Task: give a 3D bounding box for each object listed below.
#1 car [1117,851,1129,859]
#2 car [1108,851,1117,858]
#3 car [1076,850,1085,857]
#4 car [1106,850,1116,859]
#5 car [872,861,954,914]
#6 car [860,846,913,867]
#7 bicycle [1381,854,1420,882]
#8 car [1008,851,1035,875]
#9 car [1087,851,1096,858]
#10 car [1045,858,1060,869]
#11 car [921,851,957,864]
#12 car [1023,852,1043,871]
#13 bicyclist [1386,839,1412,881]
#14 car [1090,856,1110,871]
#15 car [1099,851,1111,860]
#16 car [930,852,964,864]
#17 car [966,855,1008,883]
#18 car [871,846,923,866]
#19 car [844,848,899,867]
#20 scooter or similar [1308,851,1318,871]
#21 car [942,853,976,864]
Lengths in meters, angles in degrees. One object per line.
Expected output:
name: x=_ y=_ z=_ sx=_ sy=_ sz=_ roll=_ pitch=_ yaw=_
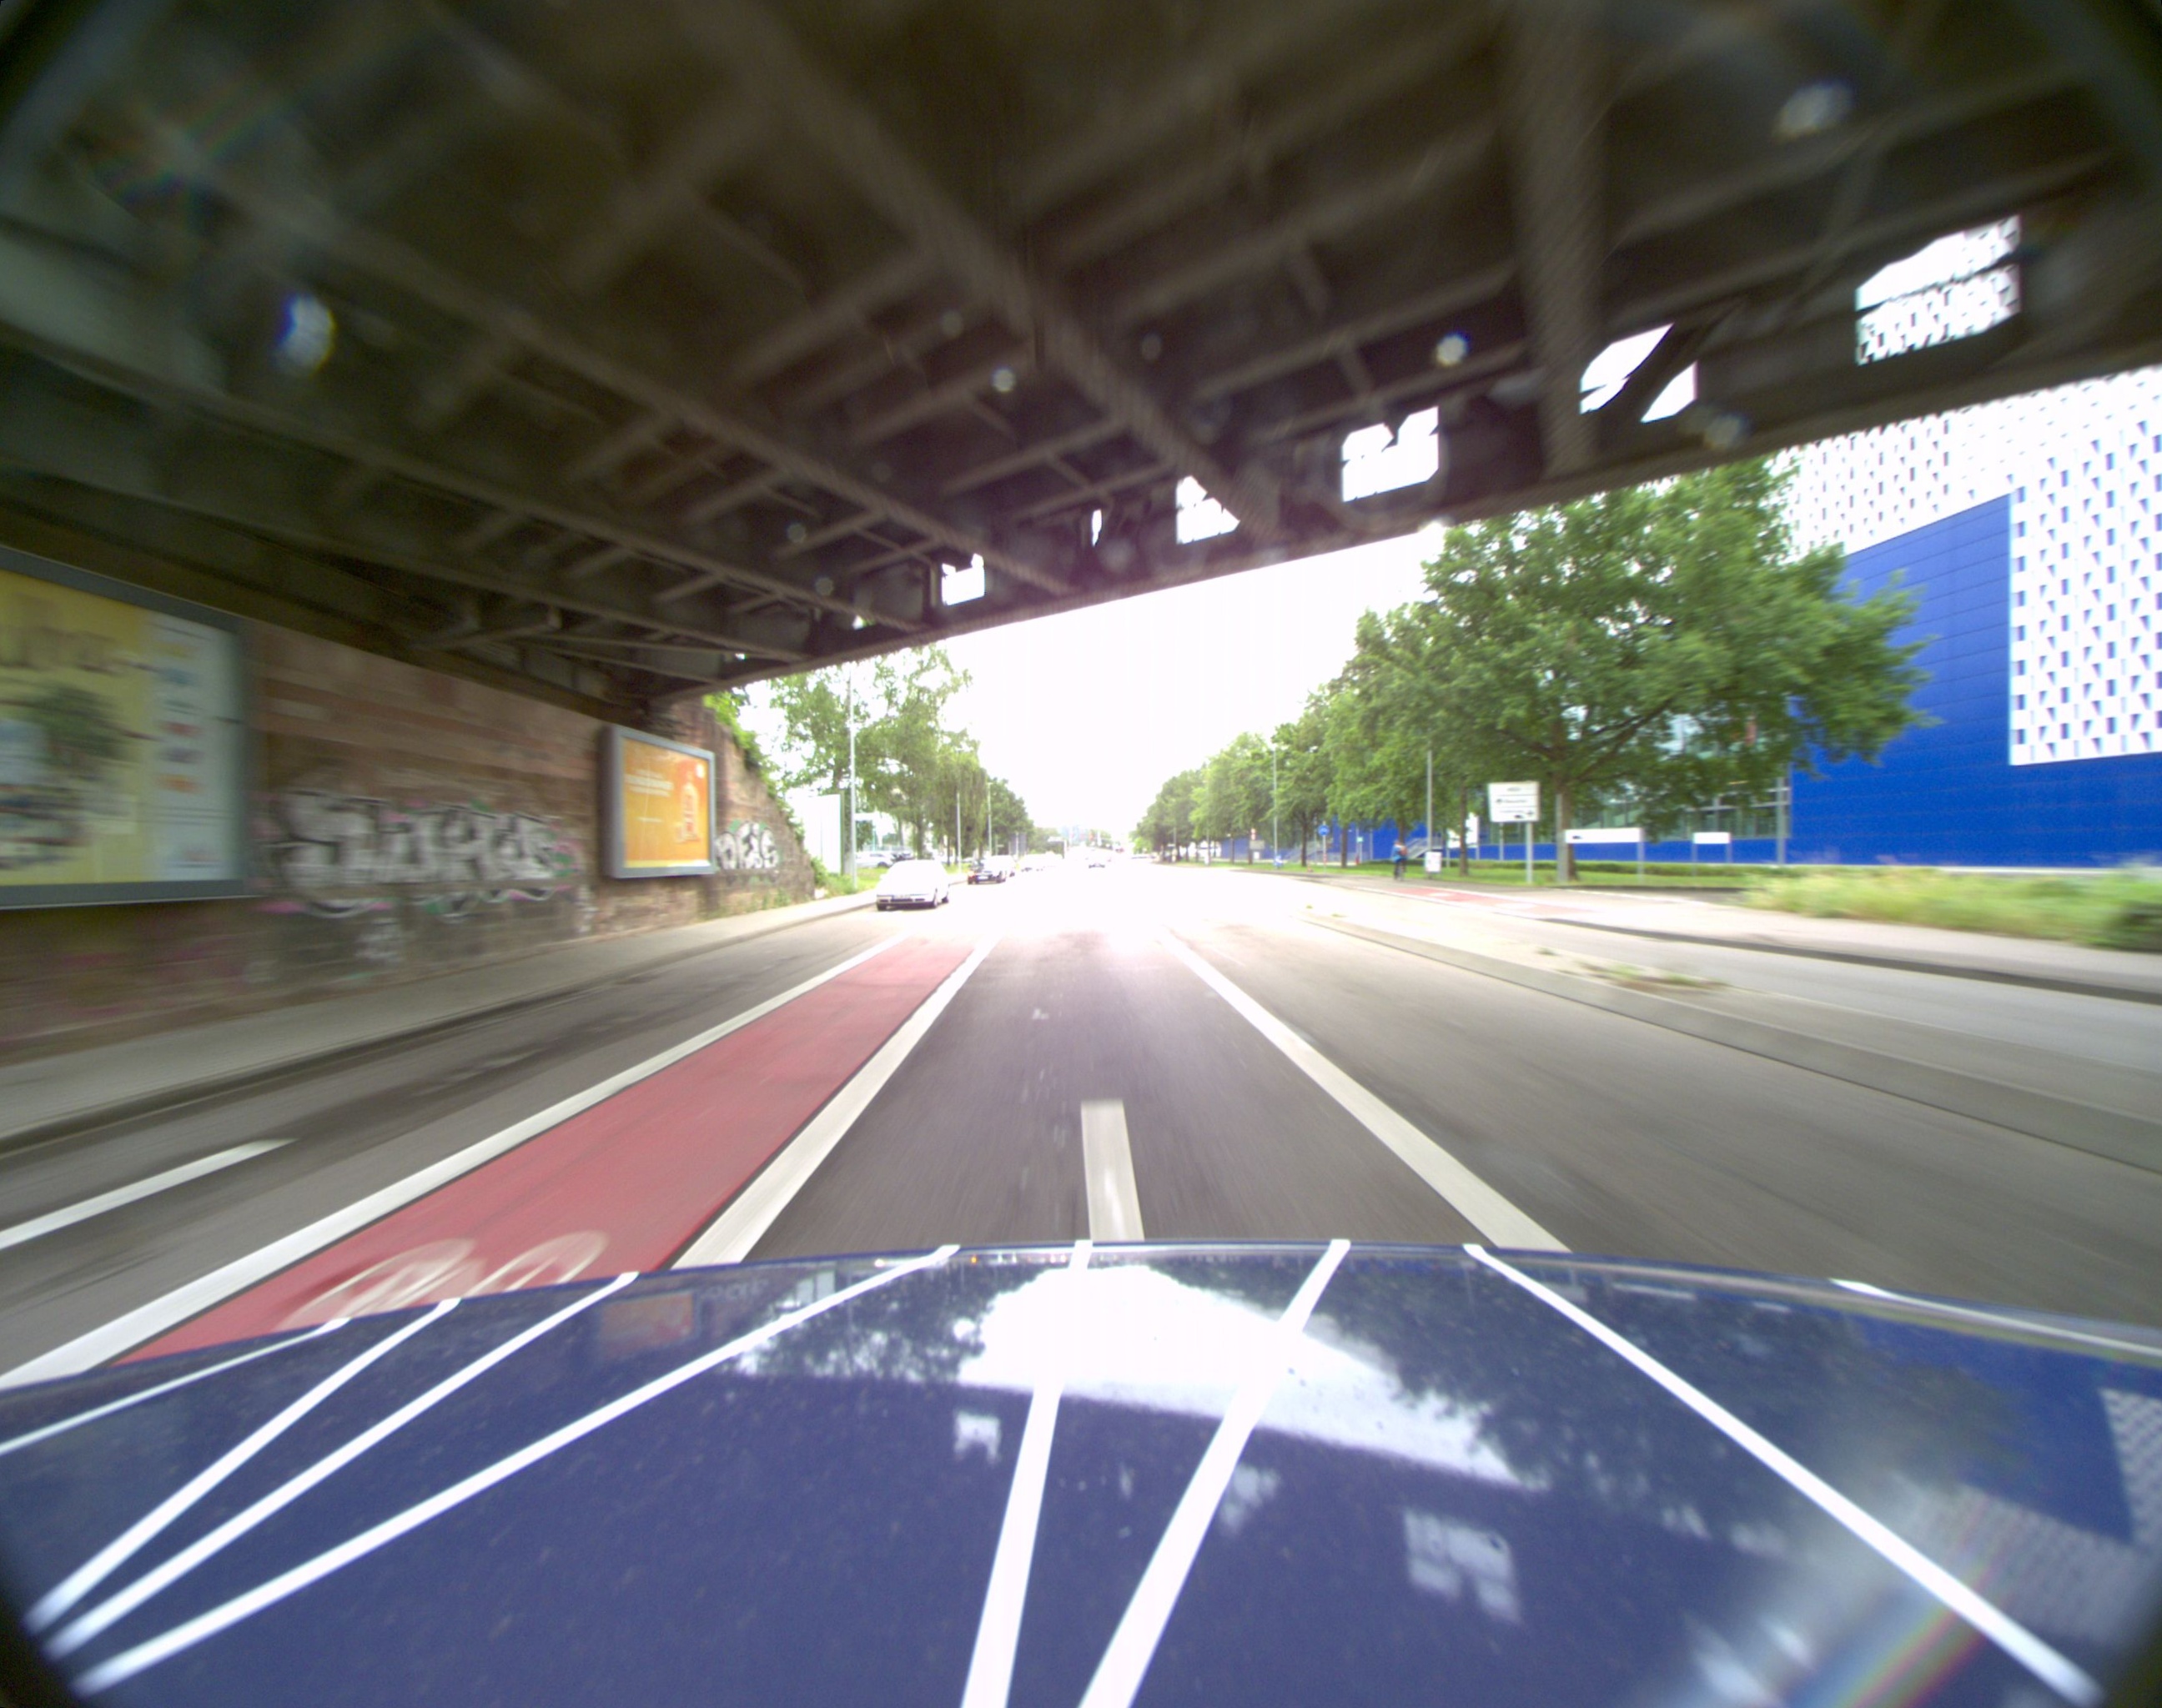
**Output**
car: x=7.810 y=0.151 z=141.081 sx=1.681 sy=1.420 sz=3.649 roll=1 pitch=0 yaw=-4
car: x=6.274 y=0.164 z=151.139 sx=1.628 sy=1.414 sz=3.611 roll=0 pitch=0 yaw=-2
car: x=-0.223 y=-0.134 z=187.921 sx=1.651 sy=1.788 sz=3.978 roll=1 pitch=0 yaw=-8
car: x=6.362 y=0.045 z=162.398 sx=1.772 sy=1.913 sz=4.907 roll=0 pitch=0 yaw=-2
car: x=-5.139 y=0.975 z=23.725 sx=1.726 sy=1.416 sz=3.940 roll=-2 pitch=0 yaw=-1
car: x=-17.657 y=0.235 z=69.204 sx=4.309 sy=1.592 sz=1.968 roll=-4 pitch=0 yaw=-3
bicycle: x=14.495 y=0.608 z=34.581 sx=0.715 sy=1.180 sz=2.370 roll=-2 pitch=1 yaw=-1
car: x=-4.375 y=0.631 z=55.636 sx=1.788 sy=1.637 sz=3.997 roll=-1 pitch=0 yaw=-7
car: x=2.500 y=0.151 z=188.372 sx=1.651 sy=1.788 sz=3.978 roll=2 pitch=0 yaw=-7
car: x=-3.803 y=1.280 z=101.406 sx=1.837 sy=1.416 sz=3.999 roll=-2 pitch=0 yaw=-1
car: x=-18.422 y=0.486 z=98.700 sx=4.199 sy=1.423 sz=1.739 roll=-4 pitch=0 yaw=-1
car: x=-4.828 y=0.696 z=76.411 sx=1.995 sy=1.838 sz=4.102 roll=-1 pitch=0 yaw=-4
bicyclist: x=14.475 y=0.274 z=34.614 sx=0.703 sy=1.864 sz=1.020 roll=-2 pitch=1 yaw=-1
car: x=2.001 y=1.001 z=81.339 sx=1.837 sy=1.416 sz=3.999 roll=-2 pitch=0 yaw=-1
car: x=4.558 y=0.329 z=145.461 sx=1.823 sy=1.577 sz=4.511 roll=1 pitch=0 yaw=-5
car: x=-18.223 y=0.532 z=103.400 sx=4.309 sy=1.350 sz=1.739 roll=-4 pitch=0 yaw=-1
car: x=-5.053 y=0.782 z=41.366 sx=1.837 sy=1.416 sz=3.999 roll=-2 pitch=0 yaw=-1
car: x=-17.385 y=0.227 z=71.813 sx=4.308 sy=1.592 sz=1.969 roll=-4 pitch=0 yaw=0
car: x=-17.933 y=0.273 z=65.106 sx=4.311 sy=1.480 sz=1.739 roll=-2 pitch=0 yaw=-7
scooter or similar: x=15.991 y=0.461 z=52.347 sx=0.448 sy=1.314 sz=1.506 roll=-1 pitch=0 yaw=9
car: x=-18.610 y=0.635 z=116.267 sx=4.764 sy=1.416 sz=1.902 roll=-4 pitch=0 yaw=-1
